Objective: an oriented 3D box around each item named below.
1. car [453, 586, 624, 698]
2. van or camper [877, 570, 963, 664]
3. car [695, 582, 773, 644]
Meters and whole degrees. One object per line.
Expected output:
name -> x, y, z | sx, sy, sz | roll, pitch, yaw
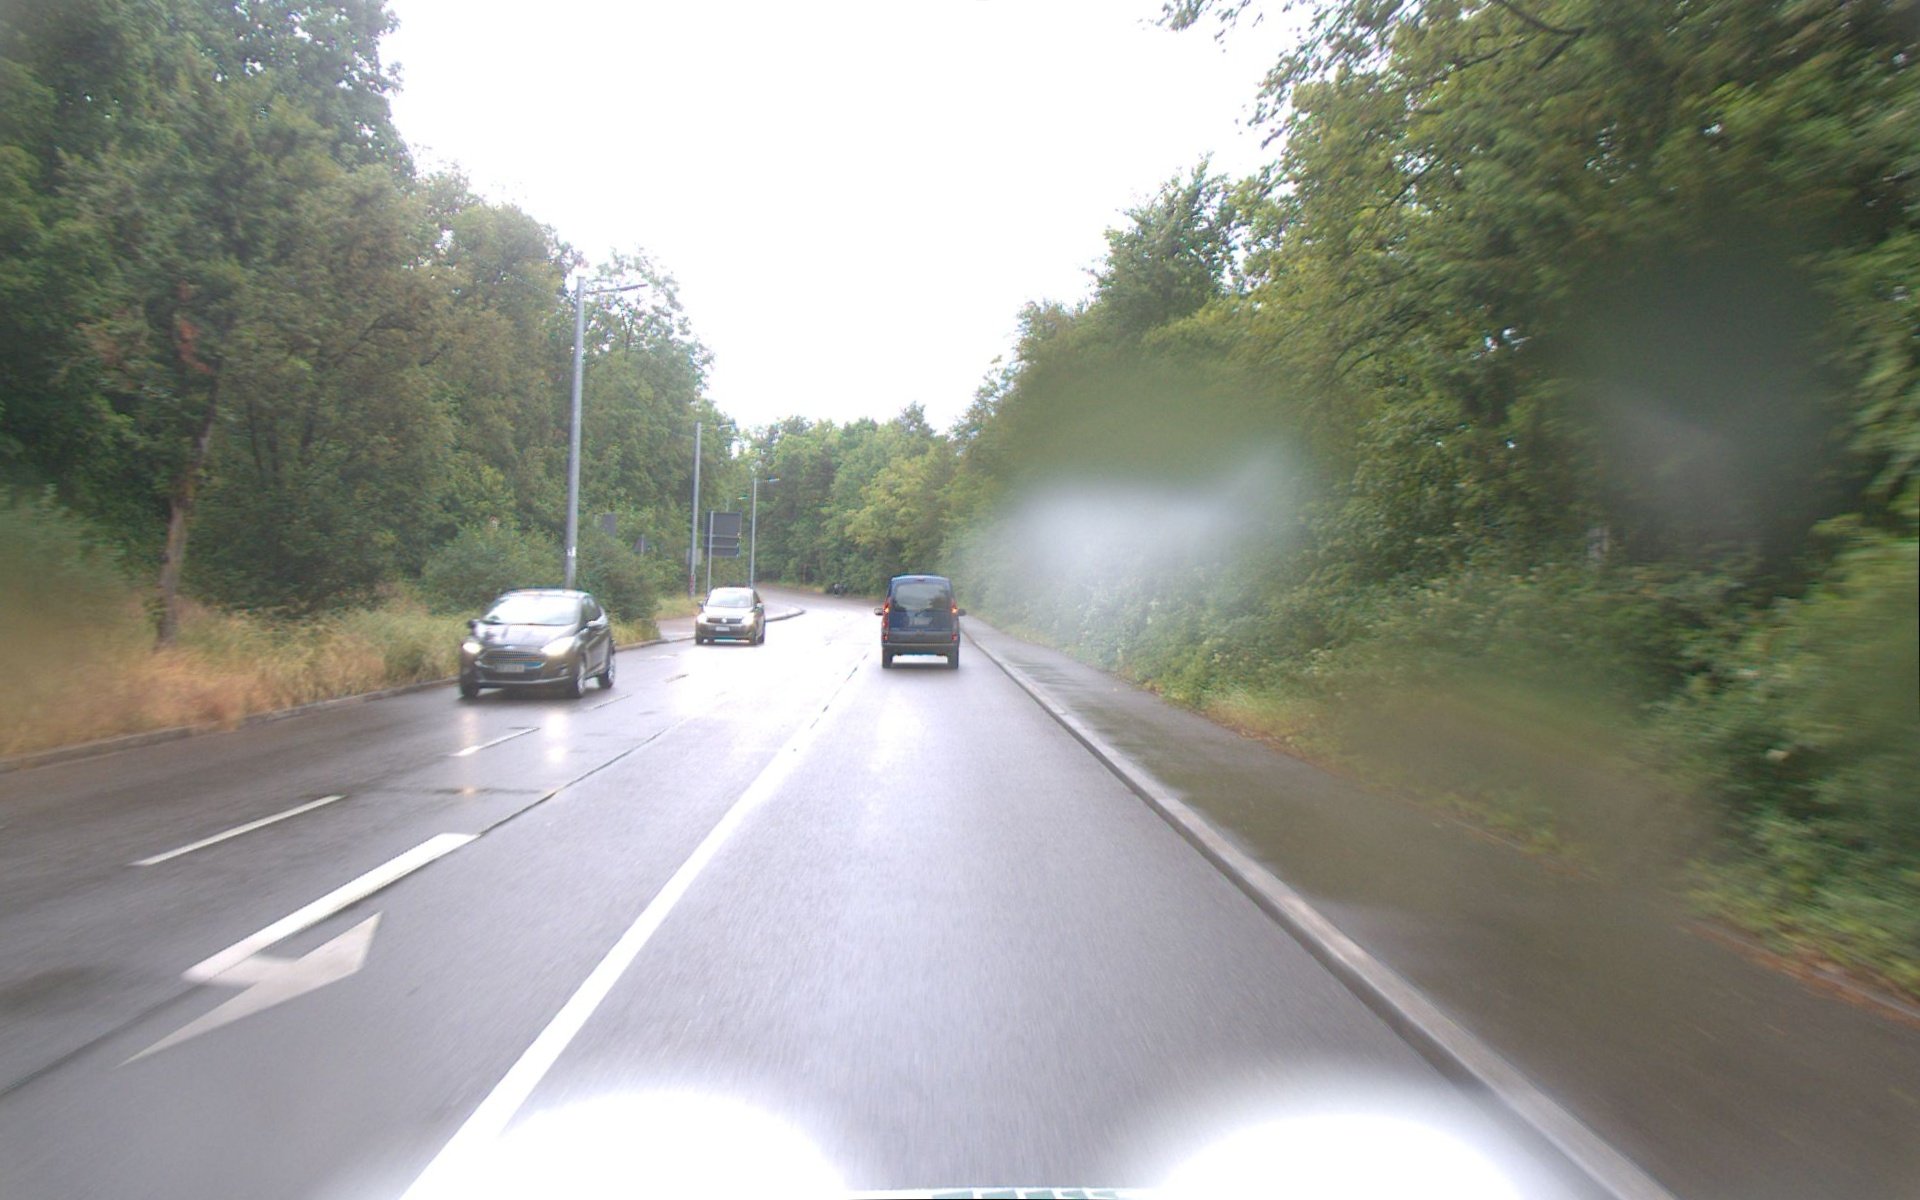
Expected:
car -> -5.946, 0.534, 23.744 | 1.566, 1.466, 3.989 | 0, 0, -2
van or camper -> -0.790, 0.320, 34.897 | 1.677, 1.857, 4.000 | 1, 0, 0
car -> -6.455, 0.342, 47.564 | 1.736, 1.638, 4.082 | 2, 0, -1
